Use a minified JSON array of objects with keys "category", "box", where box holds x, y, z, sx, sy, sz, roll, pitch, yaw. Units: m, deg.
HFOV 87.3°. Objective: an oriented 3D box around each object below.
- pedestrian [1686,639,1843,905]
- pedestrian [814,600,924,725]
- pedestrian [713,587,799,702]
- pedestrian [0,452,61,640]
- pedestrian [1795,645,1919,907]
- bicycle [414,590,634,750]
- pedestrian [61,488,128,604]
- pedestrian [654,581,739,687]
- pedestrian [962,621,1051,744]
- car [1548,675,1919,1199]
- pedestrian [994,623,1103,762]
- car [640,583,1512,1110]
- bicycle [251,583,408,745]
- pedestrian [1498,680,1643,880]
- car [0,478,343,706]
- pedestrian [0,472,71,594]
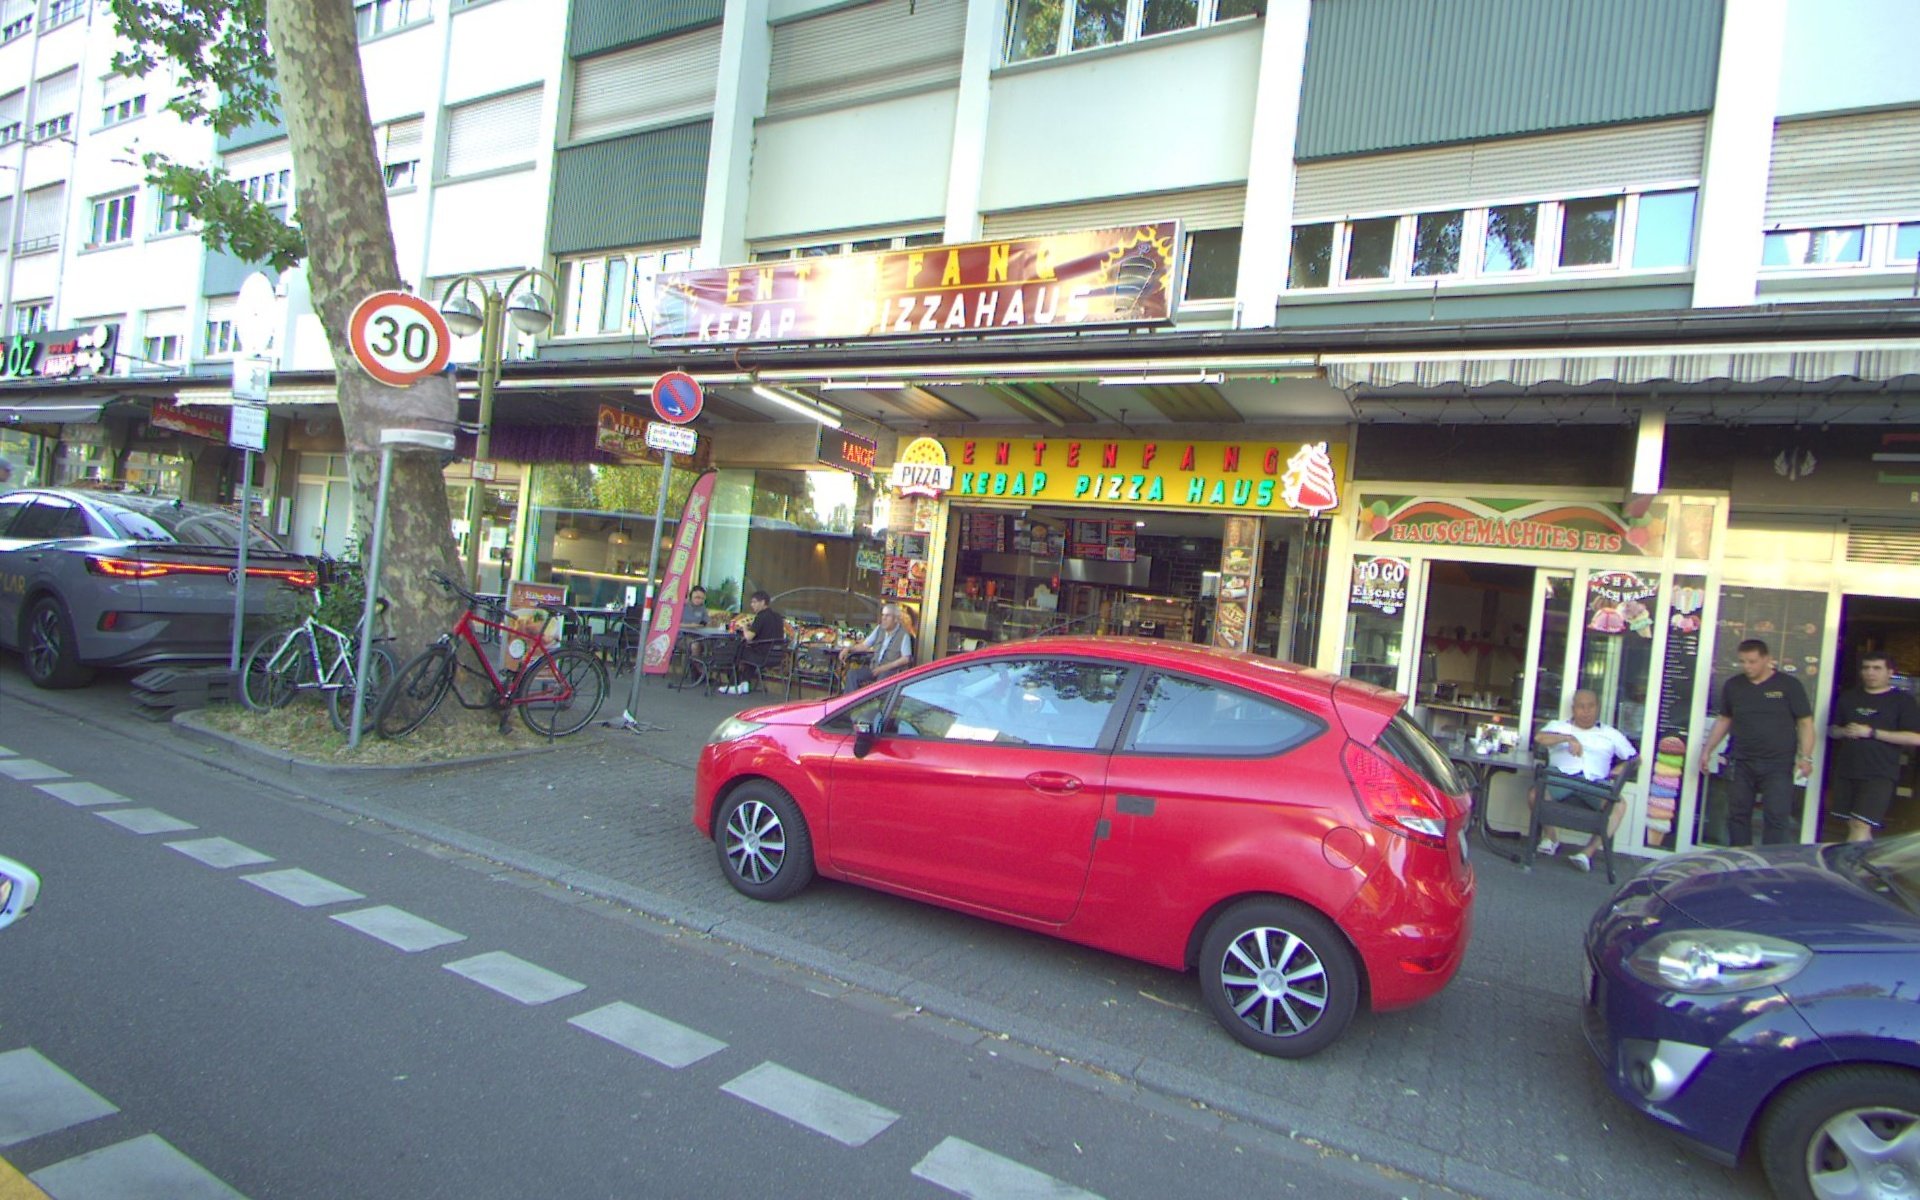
[{"category":"pedestrian","box":[5.759,1.191,7.243,0.587,1.759,0.588,8,3,28]},{"category":"pedestrian","box":[-0.982,0.662,10.869,0.861,1.237,0.688,2,3,-44]},{"category":"pedestrian","box":[-2.394,0.510,11.801,0.701,1.260,0.614,7,3,41]},{"category":"pedestrian","box":[-10.372,-0.613,10.460,1.007,1.913,1.121,6,0,28]},{"category":"pedestrian","box":[6.775,1.263,7.477,0.638,1.783,0.608,9,4,44]},{"category":"bicycle","box":[-3.236,0.505,7.561,0.291,1.082,1.455,12,7,42]},{"category":"pedestrian","box":[-15.976,-0.990,18.571,0.685,2.038,0.613,7,1,30]},{"category":"pedestrian","box":[-3.239,0.408,12.364,0.694,1.220,0.675,7,3,42]},{"category":"pedestrian","box":[0.489,0.825,10.385,0.585,1.172,0.671,6,3,31]},{"category":"car","box":[3.868,1.222,2.907,3.543,1.485,1.620,7,2,29]},{"category":"pedestrian","box":[0.829,0.838,9.415,0.740,1.172,0.593,6,3,33]},{"category":"car","box":[0.474,0.846,4.997,3.780,1.448,1.668,7,2,27]},{"category":"bicycle","box":[-4.448,0.426,7.083,1.110,0.941,0.295,9,6,21]},{"category":"pedestrian","box":[4.633,1.296,7.626,0.767,1.249,1.202,6,3,33]},{"category":"car","box":[-7.844,-0.203,9.216,4.223,1.619,1.742,7,2,27]},{"category":"pedestrian","box":[-16.378,-1.171,17.772,0.684,2.038,0.692,7,1,30]}]
